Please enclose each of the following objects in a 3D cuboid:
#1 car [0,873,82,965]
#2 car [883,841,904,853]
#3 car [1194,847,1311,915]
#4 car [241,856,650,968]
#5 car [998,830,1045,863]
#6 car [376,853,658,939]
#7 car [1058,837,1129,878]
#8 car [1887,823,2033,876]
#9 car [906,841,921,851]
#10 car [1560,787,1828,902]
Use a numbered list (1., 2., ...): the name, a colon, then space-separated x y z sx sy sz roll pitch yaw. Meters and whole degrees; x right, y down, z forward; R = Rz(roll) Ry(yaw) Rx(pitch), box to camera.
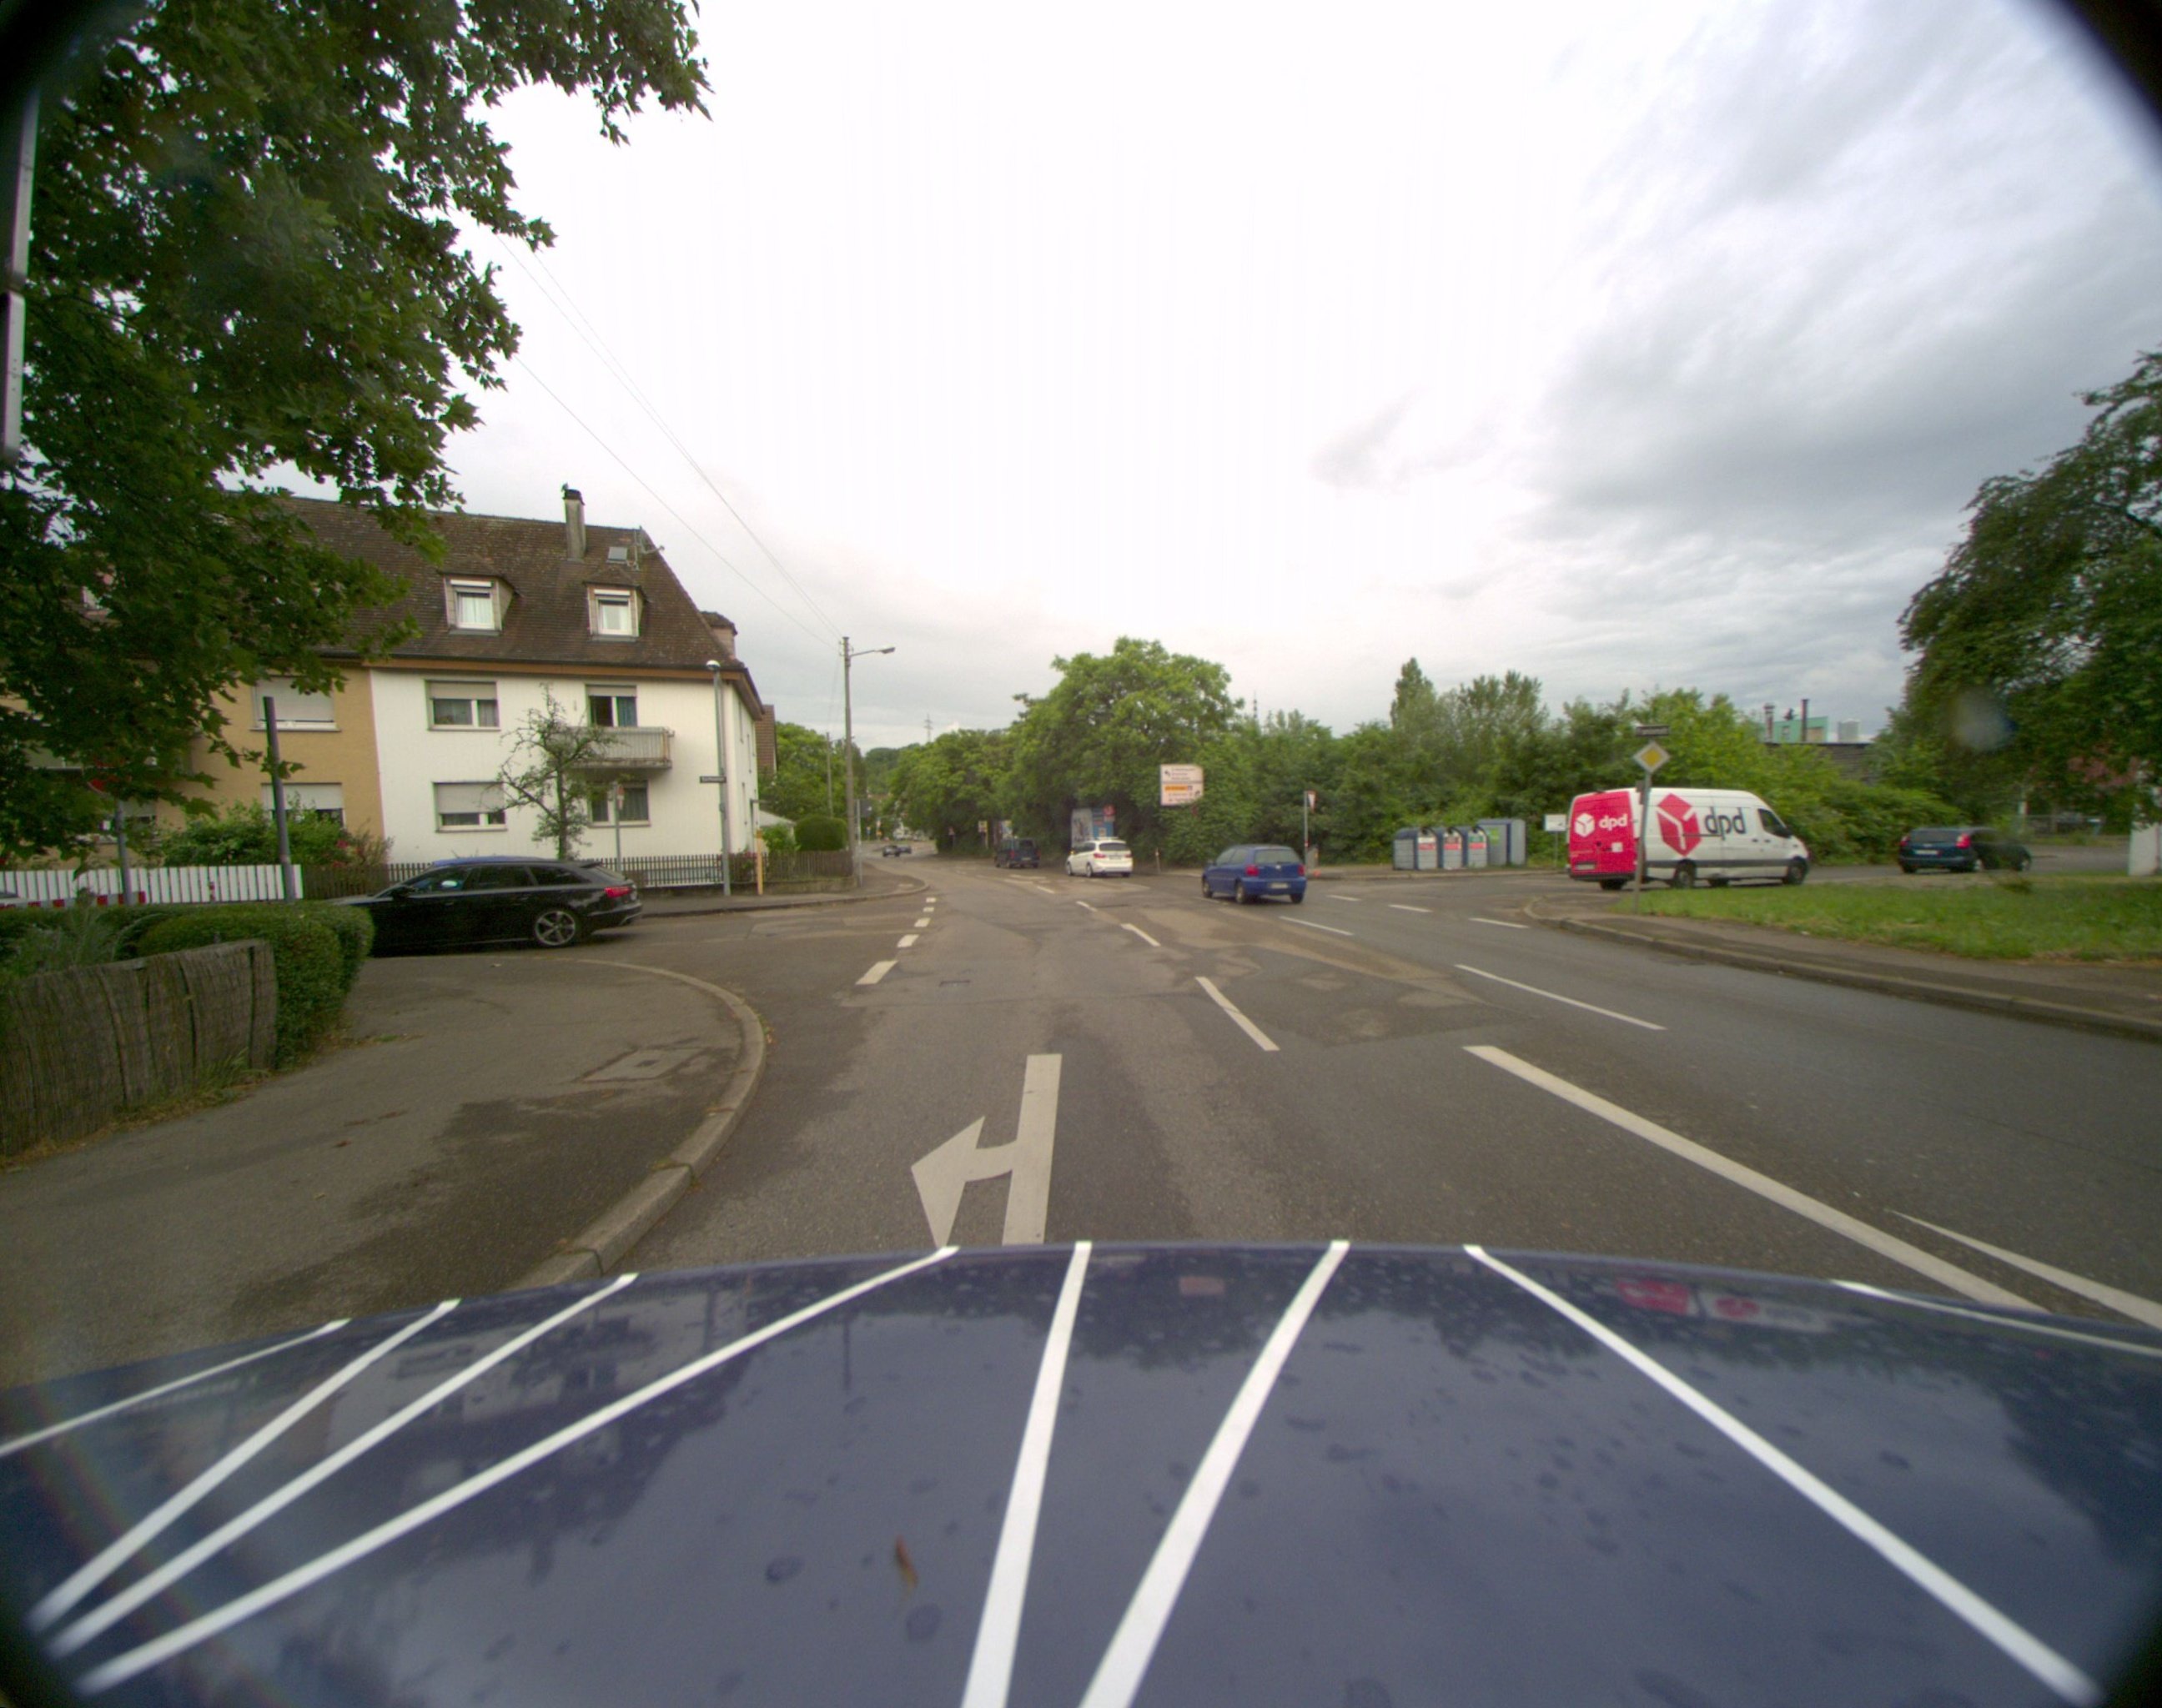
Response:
1. car: -19.467 1.130 12.163 3.788 1.445 1.769 -2 1 -20
2. car: -23.448 -0.859 95.055 1.903 1.453 3.992 -2 1 -22
3. car: 4.260 0.605 19.422 1.603 1.418 3.692 -2 2 -10
4. car: -10.050 0.822 12.617 4.824 1.472 1.882 -1 1 -24
5. car: -3.797 -0.505 47.419 1.965 1.920 4.676 -2 1 -16
6. car: -11.118 0.772 15.356 4.130 1.472 1.883 -1 1 -17
7. car: 0.488 0.088 34.173 1.838 1.570 4.325 -3 4 -18
8. car: 30.148 -0.194 26.078 4.257 1.620 1.996 -3 2 -22
9. car: -25.580 -1.221 115.723 2.001 1.435 4.768 -2 1 -15
10. car: 16.170 -0.339 20.034 6.829 2.641 2.259 -2 2 -20
